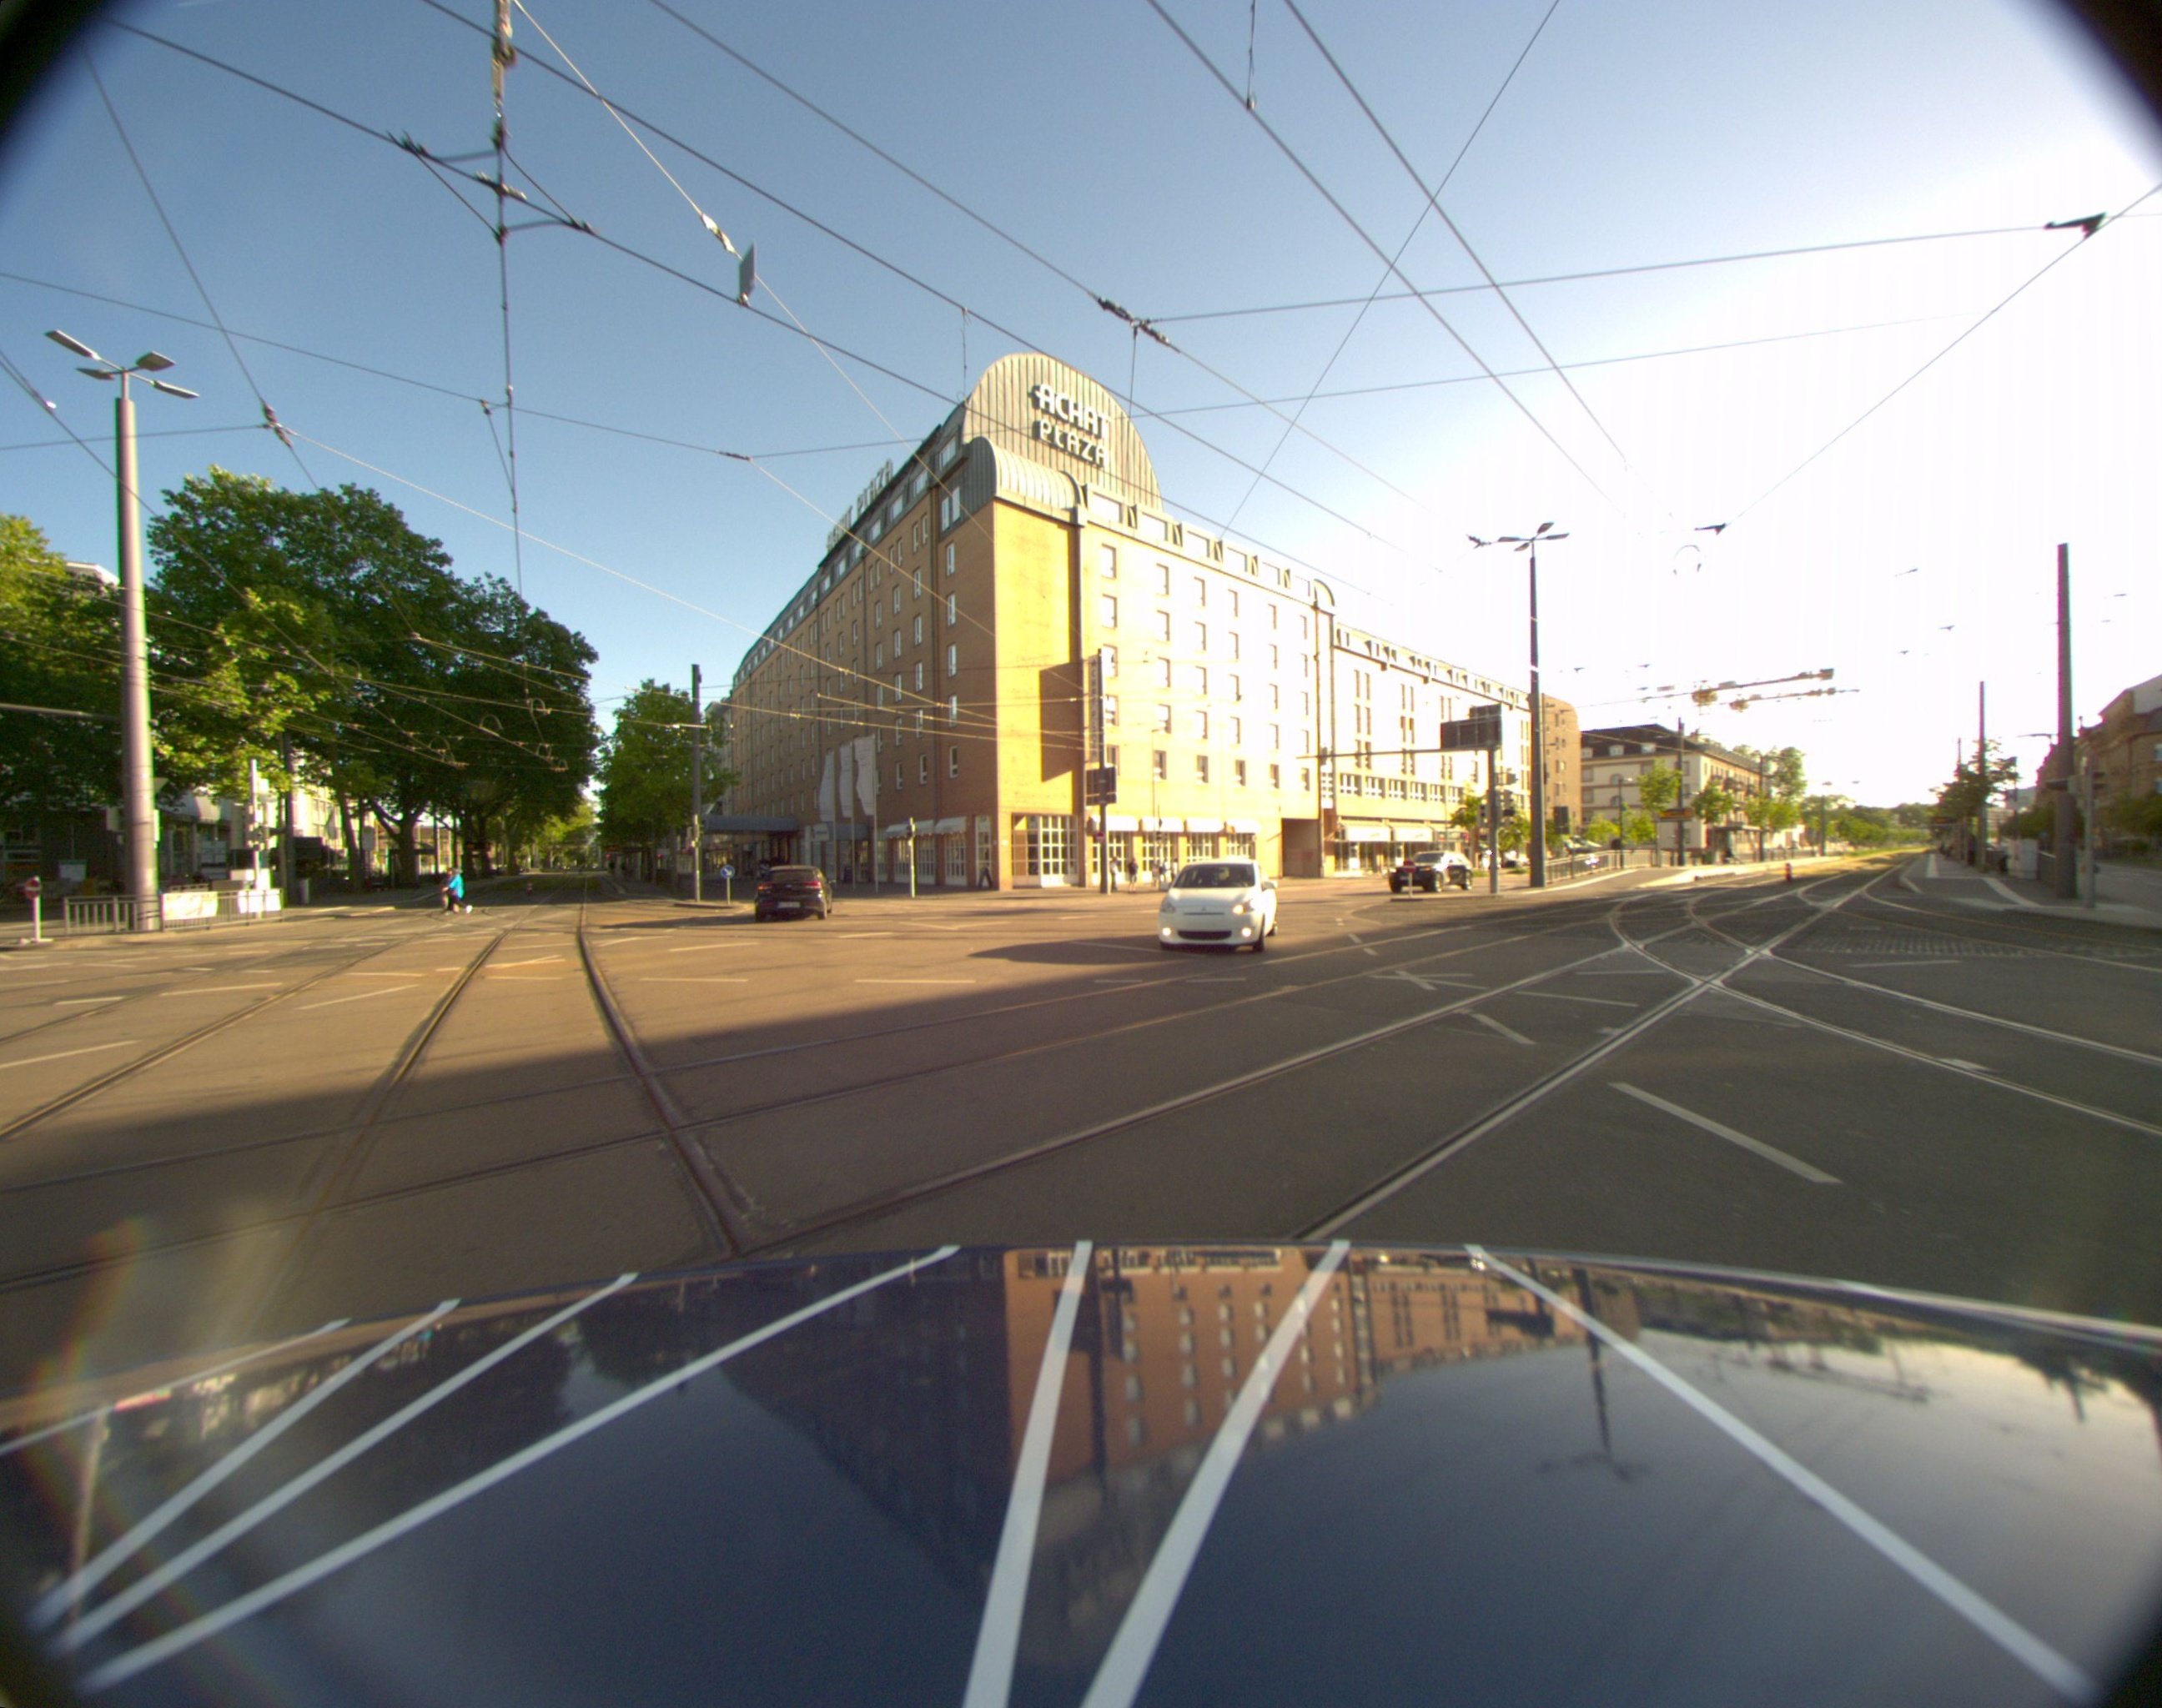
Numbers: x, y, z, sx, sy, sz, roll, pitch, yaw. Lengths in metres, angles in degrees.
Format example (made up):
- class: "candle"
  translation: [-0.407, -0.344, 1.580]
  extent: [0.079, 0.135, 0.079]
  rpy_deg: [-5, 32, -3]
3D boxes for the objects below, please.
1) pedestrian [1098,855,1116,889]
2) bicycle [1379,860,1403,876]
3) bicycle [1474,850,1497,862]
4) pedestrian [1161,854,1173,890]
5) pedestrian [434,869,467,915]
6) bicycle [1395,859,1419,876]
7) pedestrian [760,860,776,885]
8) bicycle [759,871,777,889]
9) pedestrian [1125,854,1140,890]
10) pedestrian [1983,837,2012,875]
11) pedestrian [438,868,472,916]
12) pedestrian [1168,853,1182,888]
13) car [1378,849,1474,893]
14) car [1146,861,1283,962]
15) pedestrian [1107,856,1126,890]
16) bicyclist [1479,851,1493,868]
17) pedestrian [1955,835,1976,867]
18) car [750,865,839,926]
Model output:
- class: "pedestrian"
  translation: [1.311, 0.915, 38.555]
  extent: [0.604, 1.717, 0.602]
  rpy_deg: [-2, 0, -43]
- class: "bicycle"
  translation: [22.504, 1.010, 55.232]
  extent: [0.554, 1.142, 1.772]
  rpy_deg: [-2, 2, -20]
- class: "bicycle"
  translation: [37.899, 0.187, 71.145]
  extent: [1.881, 1.045, 0.601]
  rpy_deg: [2, 4, -9]
- class: "pedestrian"
  translation: [4.339, 0.900, 38.459]
  extent: [0.497, 1.823, 0.733]
  rpy_deg: [1, 2, 14]
- class: "pedestrian"
  translation: [-21.361, 1.282, 25.742]
  extent: [0.650, 1.530, 0.744]
  rpy_deg: [-2, 0, 41]
- class: "bicycle"
  translation: [23.893, 0.974, 55.737]
  extent: [0.554, 1.142, 1.772]
  rpy_deg: [-2, 2, -20]
- class: "pedestrian"
  translation: [-19.736, 1.161, 47.934]
  extent: [0.773, 1.584, 0.836]
  rpy_deg: [-2, 0, -30]
- class: "bicycle"
  translation: [-19.732, 1.645, 47.893]
  extent: [0.793, 1.045, 1.919]
  rpy_deg: [-2, -1, -29]
- class: "pedestrian"
  translation: [2.537, 0.870, 37.483]
  extent: [0.694, 1.757, 0.574]
  rpy_deg: [-1, -1, 9]
- class: "pedestrian"
  translation: [36.942, 0.080, 30.639]
  extent: [0.655, 1.526, 0.700]
  rpy_deg: [-1, 0, -44]
- class: "pedestrian"
  translation: [-20.827, 1.258, 25.264]
  extent: [0.675, 1.530, 0.744]
  rpy_deg: [-2, 0, 41]
- class: "pedestrian"
  translation: [4.878, 0.856, 39.414]
  extent: [0.579, 1.764, 0.405]
  rpy_deg: [0, 2, -10]
- class: "car"
  translation: [14.286, 0.675, 31.363]
  extent: [4.364, 1.652, 1.951]
  rpy_deg: [-1, -1, -41]
- class: "car"
  translation: [2.502, 0.882, 13.387]
  extent: [1.637, 1.458, 4.193]
  rpy_deg: [-1, 0, 20]
- class: "pedestrian"
  translation: [1.778, 0.947, 38.118]
  extent: [0.660, 1.693, 0.561]
  rpy_deg: [-2, 0, -43]
- class: "bicyclist"
  translation: [37.939, 0.491, 71.174]
  extent: [0.850, 1.507, 0.580]
  rpy_deg: [2, 3, -9]
- class: "pedestrian"
  translation: [48.470, -0.172, 41.643]
  extent: [0.588, 1.732, 0.691]
  rpy_deg: [-1, 0, -44]
- class: "car"
  translation: [-7.762, 1.053, 20.942]
  extent: [1.798, 1.457, 4.305]
  rpy_deg: [0, 0, -14]
